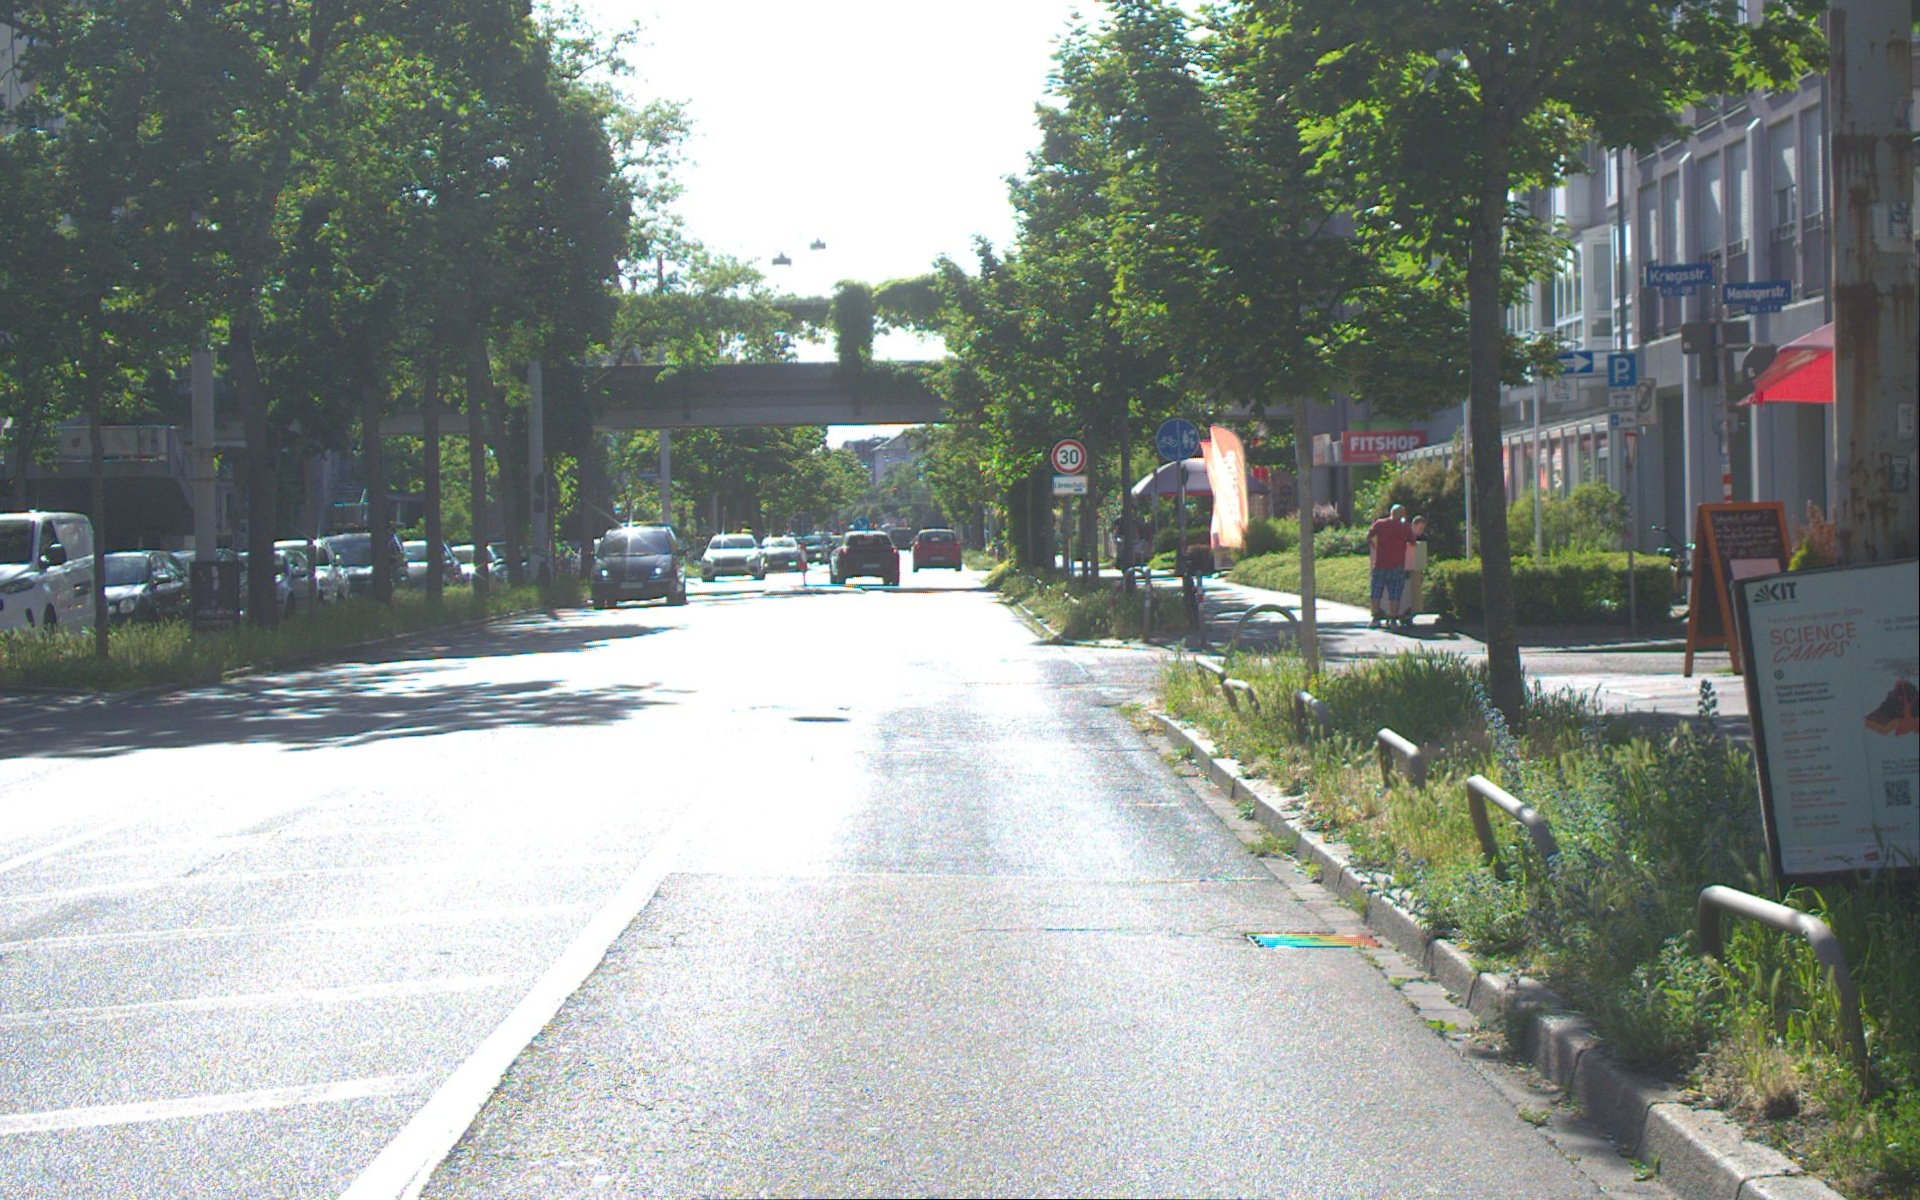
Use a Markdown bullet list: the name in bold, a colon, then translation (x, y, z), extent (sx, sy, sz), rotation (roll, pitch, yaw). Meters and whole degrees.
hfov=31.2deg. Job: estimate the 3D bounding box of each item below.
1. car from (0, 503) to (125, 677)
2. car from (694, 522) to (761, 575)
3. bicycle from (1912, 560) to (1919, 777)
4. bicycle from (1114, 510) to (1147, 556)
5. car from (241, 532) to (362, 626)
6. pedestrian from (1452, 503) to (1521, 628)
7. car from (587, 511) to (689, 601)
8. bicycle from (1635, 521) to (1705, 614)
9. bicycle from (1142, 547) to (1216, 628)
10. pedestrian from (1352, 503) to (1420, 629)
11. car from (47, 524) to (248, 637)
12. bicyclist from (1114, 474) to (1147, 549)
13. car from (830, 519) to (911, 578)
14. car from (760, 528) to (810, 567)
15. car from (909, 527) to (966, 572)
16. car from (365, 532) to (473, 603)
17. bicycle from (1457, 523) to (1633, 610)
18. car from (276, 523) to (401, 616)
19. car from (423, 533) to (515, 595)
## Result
- **car**: translation (-12.264, -0.137, 44.124), extent (1.981, 2.069, 5.197), rotation (-3, 1, -3)
- **car**: translation (-7.378, -1.658, 109.477), extent (1.855, 1.562, 4.716), rotation (-3, 1, -1)
- **bicycle**: translation (4.893, 0.328, 15.265), extent (0.685, 1.024, 2.096), rotation (-1, 1, -1)
- **bicycle**: translation (3.924, -1.542, 79.215), extent (0.589, 1.024, 1.860), rotation (-1, 1, -1)
- **car**: translation (-12.421, -0.429, 65.060), extent (1.855, 1.678, 4.666), rotation (-1, 1, -6)
- **pedestrian**: translation (6.981, -0.459, 45.602), extent (0.653, 1.598, 0.603), rotation (-5, 1, -6)
- **car**: translation (-7.007, -0.987, 75.237), extent (1.855, 1.818, 4.610), rotation (-3, 2, -2)
- **bicycle**: translation (9.012, -0.425, 43.672), extent (0.685, 1.024, 2.203), rotation (-2, 4, 8)
- **bicycle**: translation (3.061, -0.189, 47.846), extent (0.591, 1.062, 2.021), rotation (-1, 2, 16)
- **pedestrian**: translation (5.607, -0.451, 45.274), extent (0.653, 1.598, 0.603), rotation (-5, 1, -6)
- **car**: translation (-11.673, -0.316, 49.666), extent (1.781, 1.517, 4.319), rotation (-1, 1, 1)
- **bicyclist**: translation (3.919, -2.033, 79.155), extent (0.667, 1.689, 0.889), rotation (-1, 1, -2)
- **car**: translation (-2.600, -1.497, 98.865), extent (1.984, 1.595, 4.141), rotation (-1, 2, -6)
- **car**: translation (-7.107, -2.144, 139.964), extent (1.855, 1.435, 4.319), rotation (-3, 2, -1)
- **car**: translation (-0.769, -1.786, 120.020), extent (1.856, 1.517, 4.319), rotation (-1, 1, 1)
- **car**: translation (-12.385, -0.761, 78.875), extent (1.856, 1.563, 3.872), rotation (-1, 1, 0)
- **bicycle**: translation (7.786, -0.452, 45.819), extent (2.196, 1.024, 0.687), rotation (-3, 3, 2)
- **car**: translation (-12.813, -0.665, 71.097), extent (1.855, 1.843, 4.562), rotation (-1, 1, -2)
- **car**: translation (-12.608, -0.945, 88.476), extent (1.855, 1.517, 4.319), rotation (-1, 1, -2)
